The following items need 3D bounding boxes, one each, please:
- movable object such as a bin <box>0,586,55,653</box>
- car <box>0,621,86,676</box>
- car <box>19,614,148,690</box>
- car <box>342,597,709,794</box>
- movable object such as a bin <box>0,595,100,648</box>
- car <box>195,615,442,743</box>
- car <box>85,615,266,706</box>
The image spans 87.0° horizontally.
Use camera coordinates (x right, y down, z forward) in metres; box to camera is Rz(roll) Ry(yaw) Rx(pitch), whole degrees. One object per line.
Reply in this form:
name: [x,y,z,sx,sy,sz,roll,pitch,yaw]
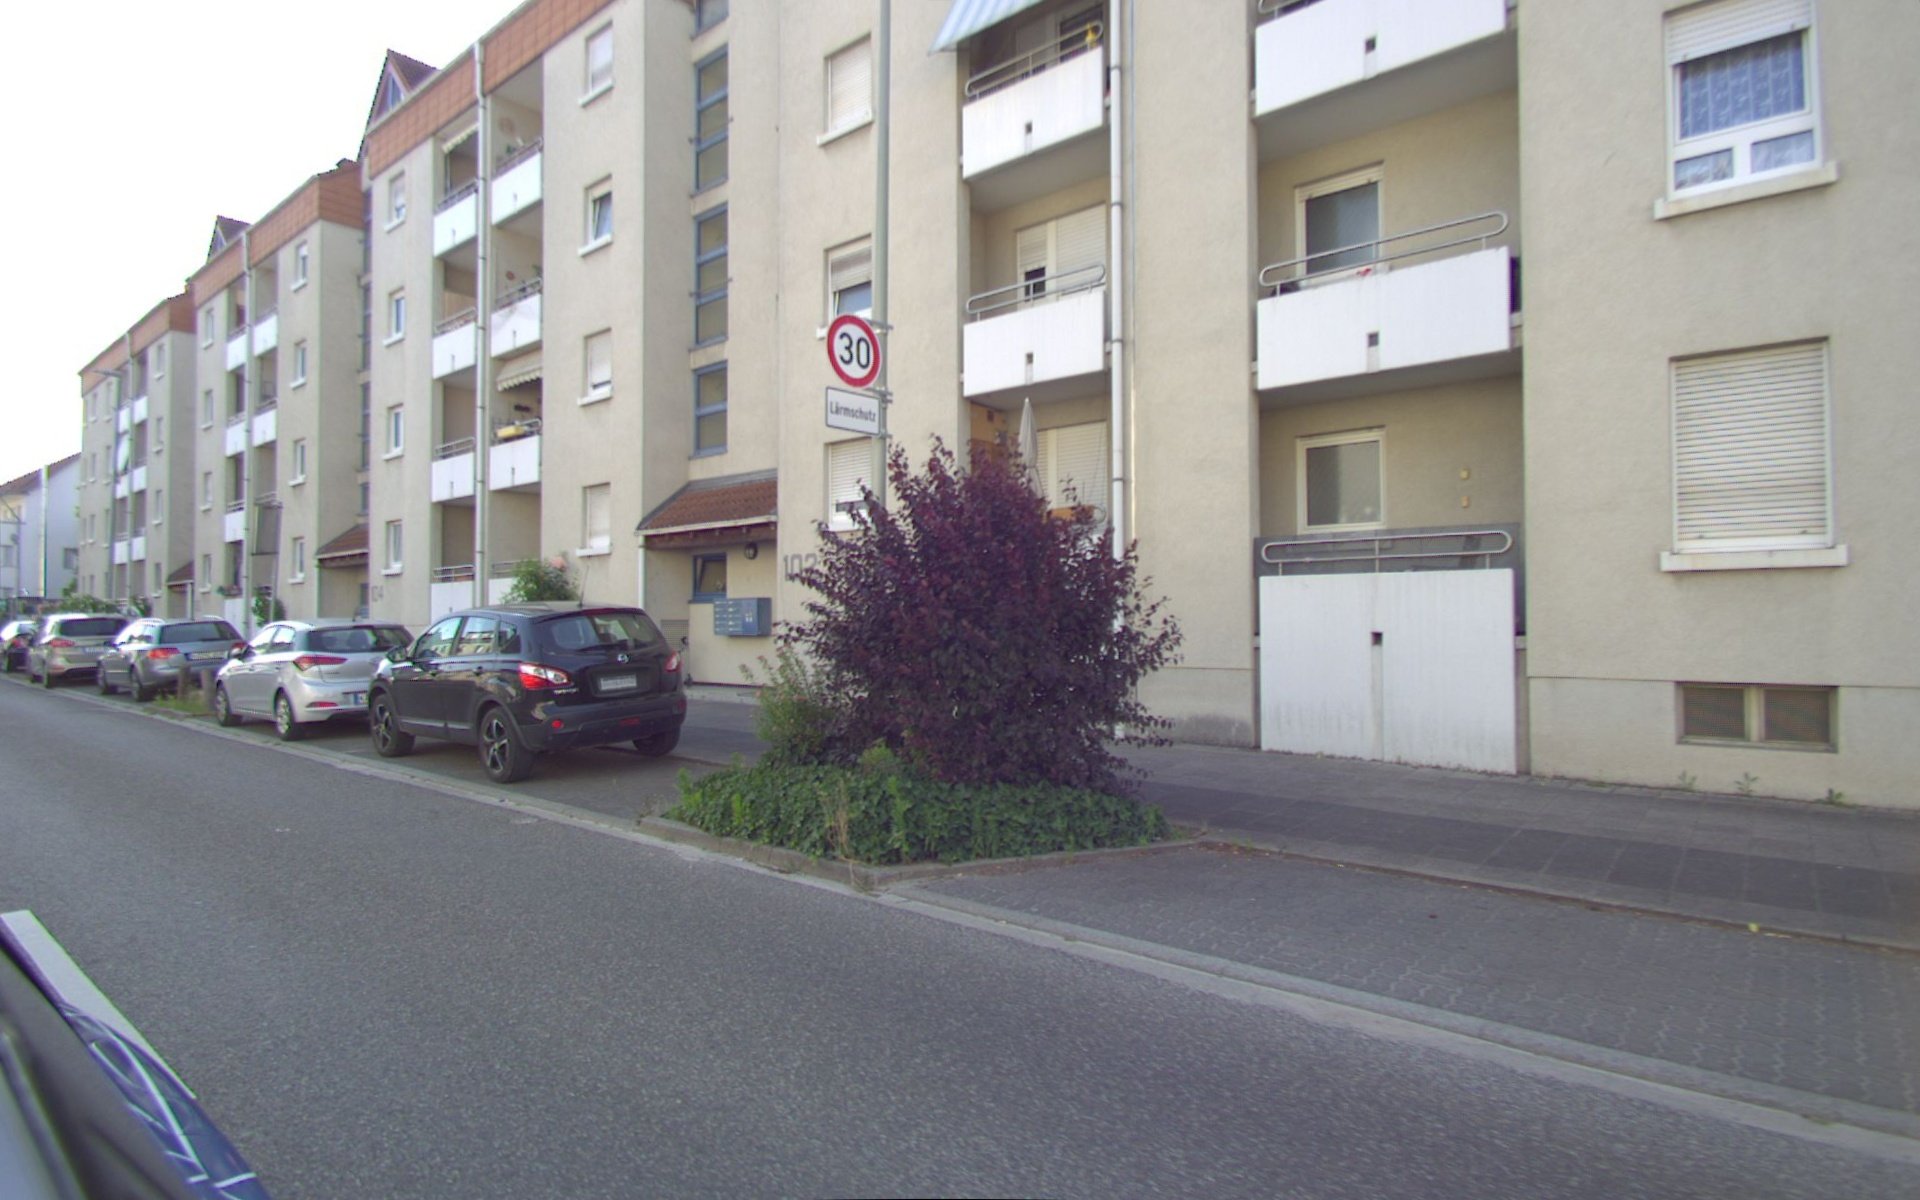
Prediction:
movable object such as a bin: [-46.151,0.987,49.897,3.895,3.162,1.632,-2,-3,39]
car: [-26.277,1.329,28.655,4.079,1.416,1.669,-1,-1,39]
car: [-20.007,1.120,23.050,3.964,1.567,1.708,-1,0,42]
car: [-4.587,0.819,10.362,4.366,1.615,1.669,-1,-1,40]
movable object such as a bin: [-53.194,1.211,58.112,2.102,2.922,5.463,-2,-1,28]
car: [-8.774,0.959,13.699,4.137,1.465,1.669,-1,-1,40]
car: [-15.018,1.072,19.290,4.365,1.532,1.789,-1,-1,39]
